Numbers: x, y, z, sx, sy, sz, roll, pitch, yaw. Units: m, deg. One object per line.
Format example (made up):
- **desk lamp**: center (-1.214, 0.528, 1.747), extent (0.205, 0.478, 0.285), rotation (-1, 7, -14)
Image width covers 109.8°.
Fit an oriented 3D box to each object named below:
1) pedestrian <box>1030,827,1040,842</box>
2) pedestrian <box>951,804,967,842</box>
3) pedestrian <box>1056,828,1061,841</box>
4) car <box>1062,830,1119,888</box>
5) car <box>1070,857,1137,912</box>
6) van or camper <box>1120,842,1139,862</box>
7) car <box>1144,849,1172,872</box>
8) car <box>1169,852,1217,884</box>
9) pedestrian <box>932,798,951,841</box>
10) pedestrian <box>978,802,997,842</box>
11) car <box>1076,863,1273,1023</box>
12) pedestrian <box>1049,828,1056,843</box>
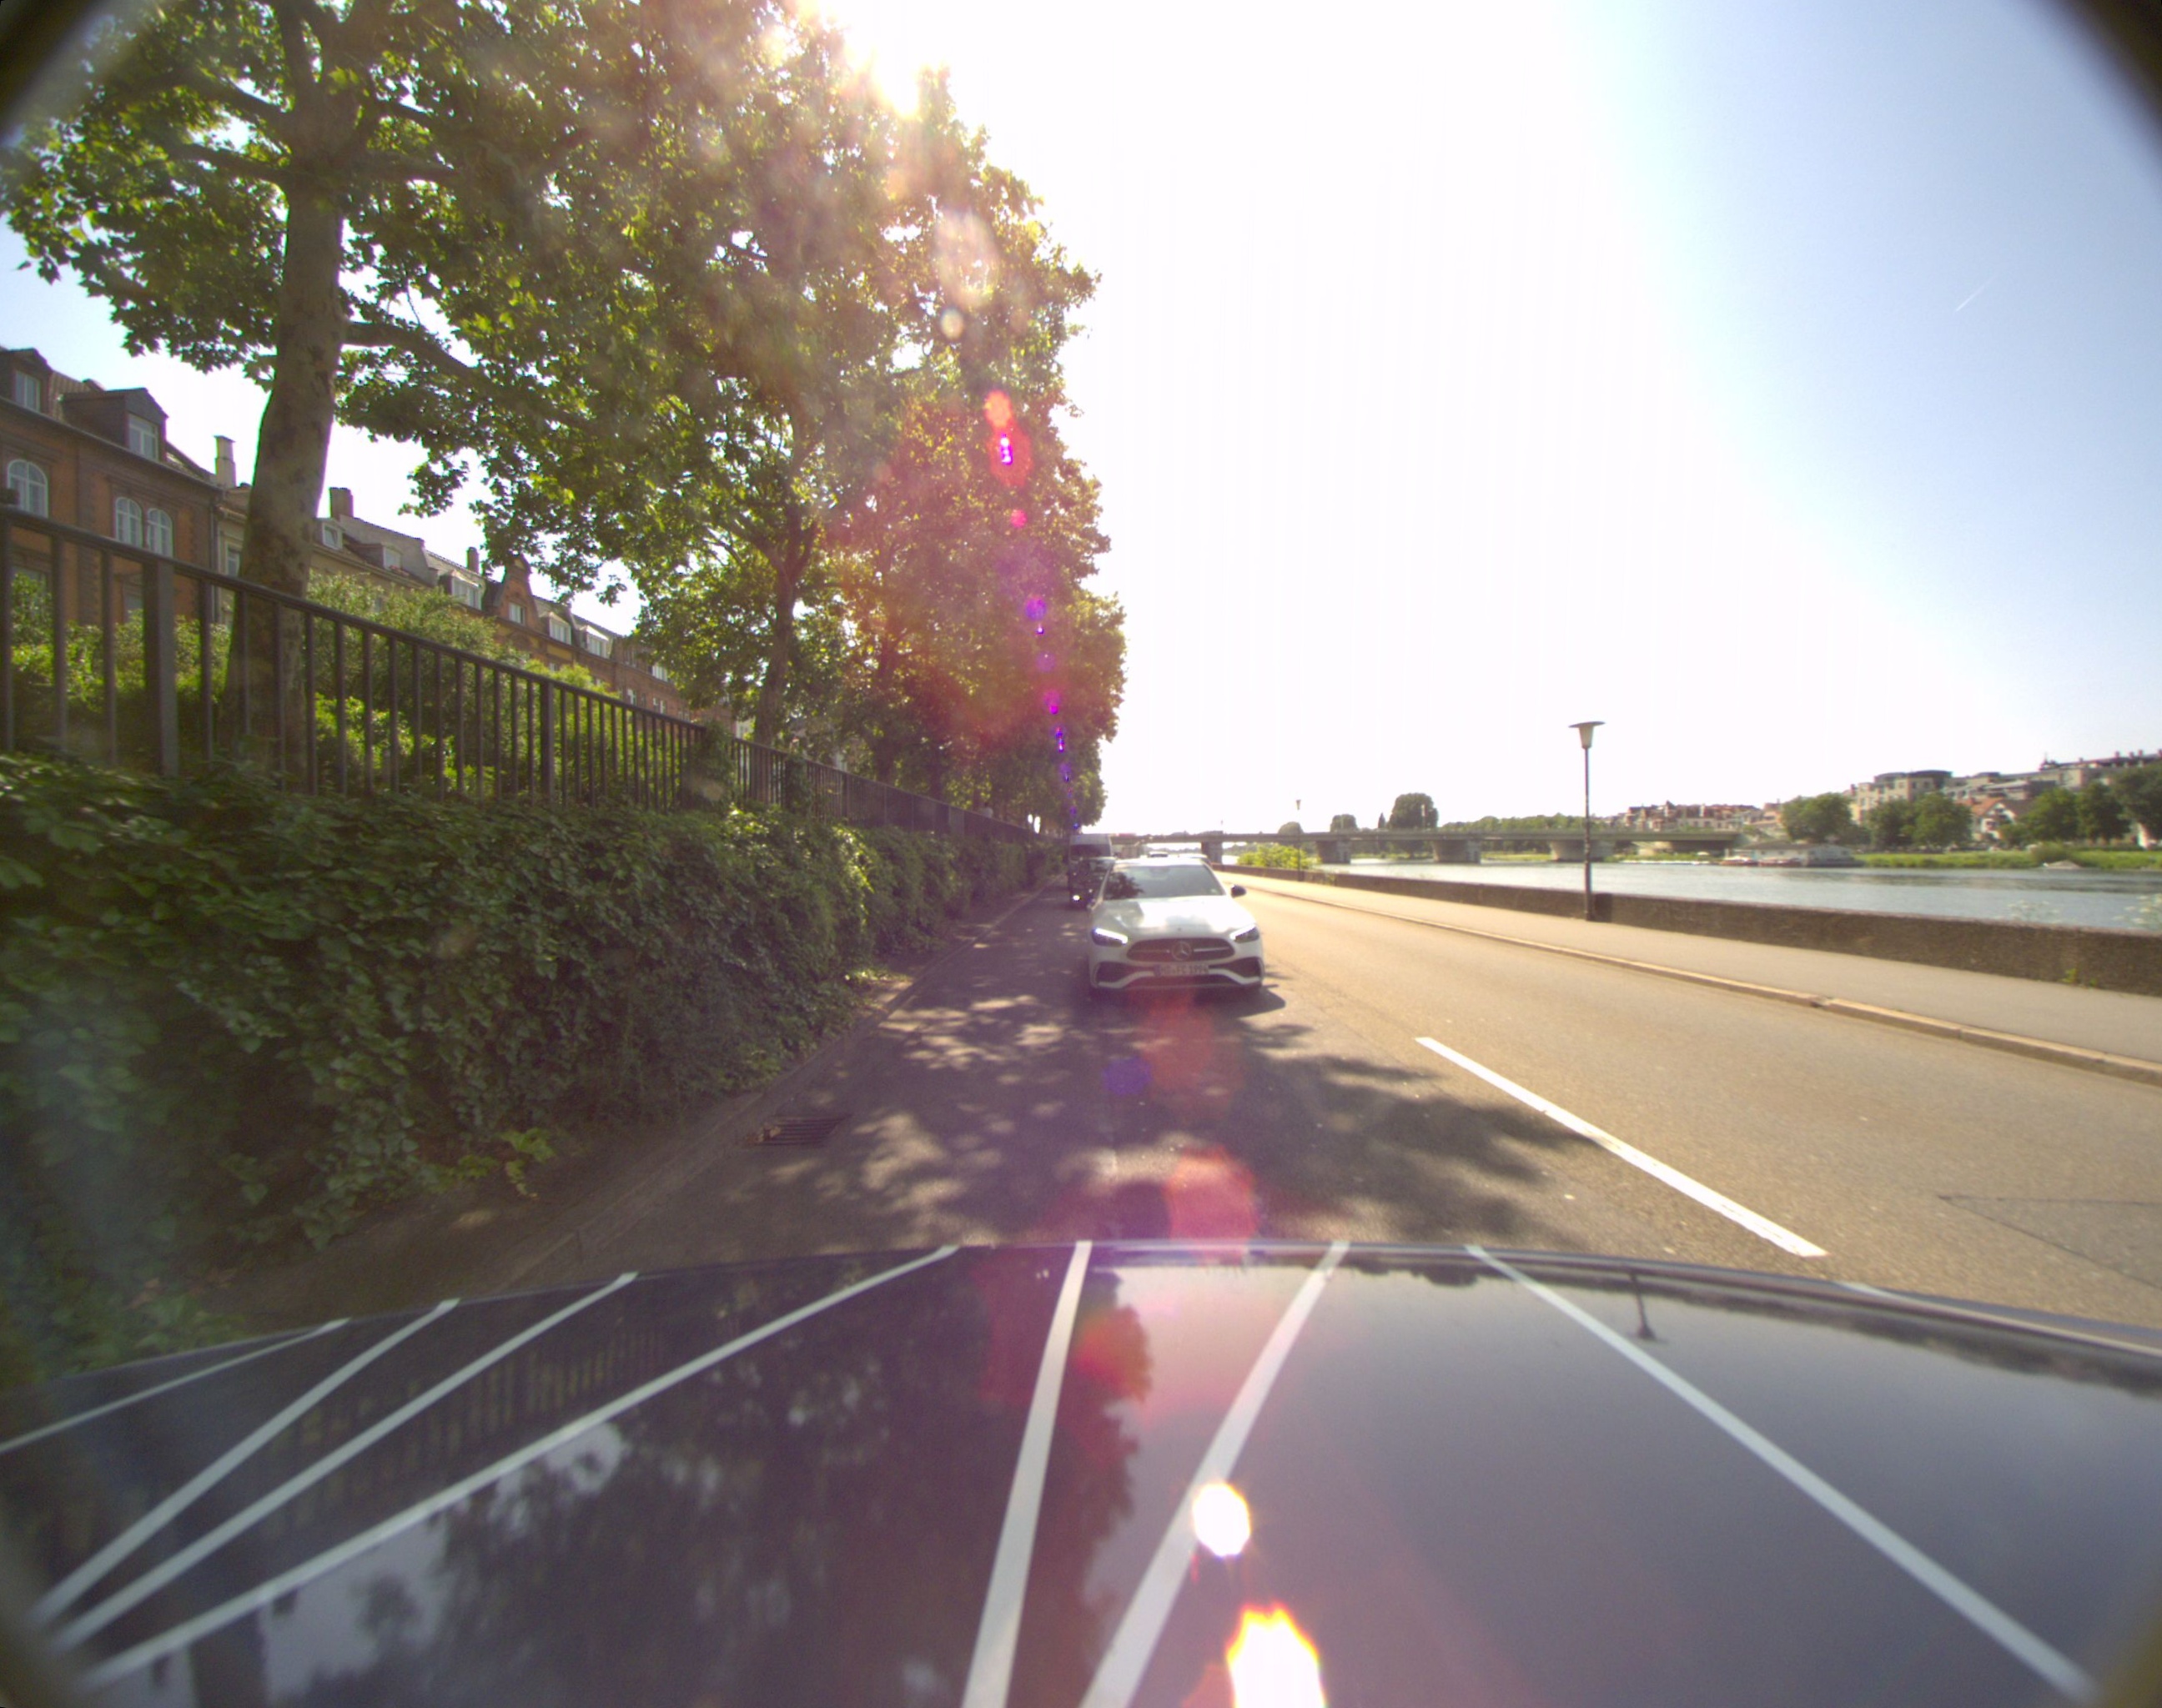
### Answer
- **pedestrian**: center (-3.718, -1.589, 61.690), extent (0.713, 1.236, 0.742), rotation (0, 1, 0)
- **pedestrian**: center (-4.704, -1.180, 29.241), extent (0.586, 1.411, 0.589), rotation (0, 1, -7)
- **pedestrian**: center (-2.809, -2.452, 94.443), extent (0.666, 1.582, 0.765), rotation (0, 1, 0)
- **car**: center (0.405, 0.204, 35.175), extent (2.351, 2.429, 6.208), rotation (0, 0, 0)
- **car**: center (0.588, 0.807, 22.482), extent (1.756, 1.385, 4.619), rotation (-2, 0, 0)
- **van or camper**: center (6.265, -0.271, 98.180), extent (2.082, 2.384, 5.384), rotation (1, 0, 0)
- **car**: center (5.899, 0.468, 58.907), extent (1.736, 1.640, 4.177), rotation (1, 0, 0)
- **car**: center (5.376, 0.641, 36.990), extent (1.736, 1.433, 4.045), rotation (1, 0, 0)
- **pedestrian**: center (-5.366, -1.302, 29.272), extent (0.649, 1.630, 0.626), rotation (0, 1, -7)
- **pedestrian**: center (-3.747, -1.260, 30.462), extent (0.666, 1.582, 0.651), rotation (0, 1, 0)
- **car**: center (0.929, 0.869, 9.479), extent (1.830, 1.411, 4.552), rotation (-2, 0, 1)
- **pedestrian**: center (-3.104, -2.026, 83.826), extent (0.738, 1.582, 0.810), rotation (0, 1, 0)
